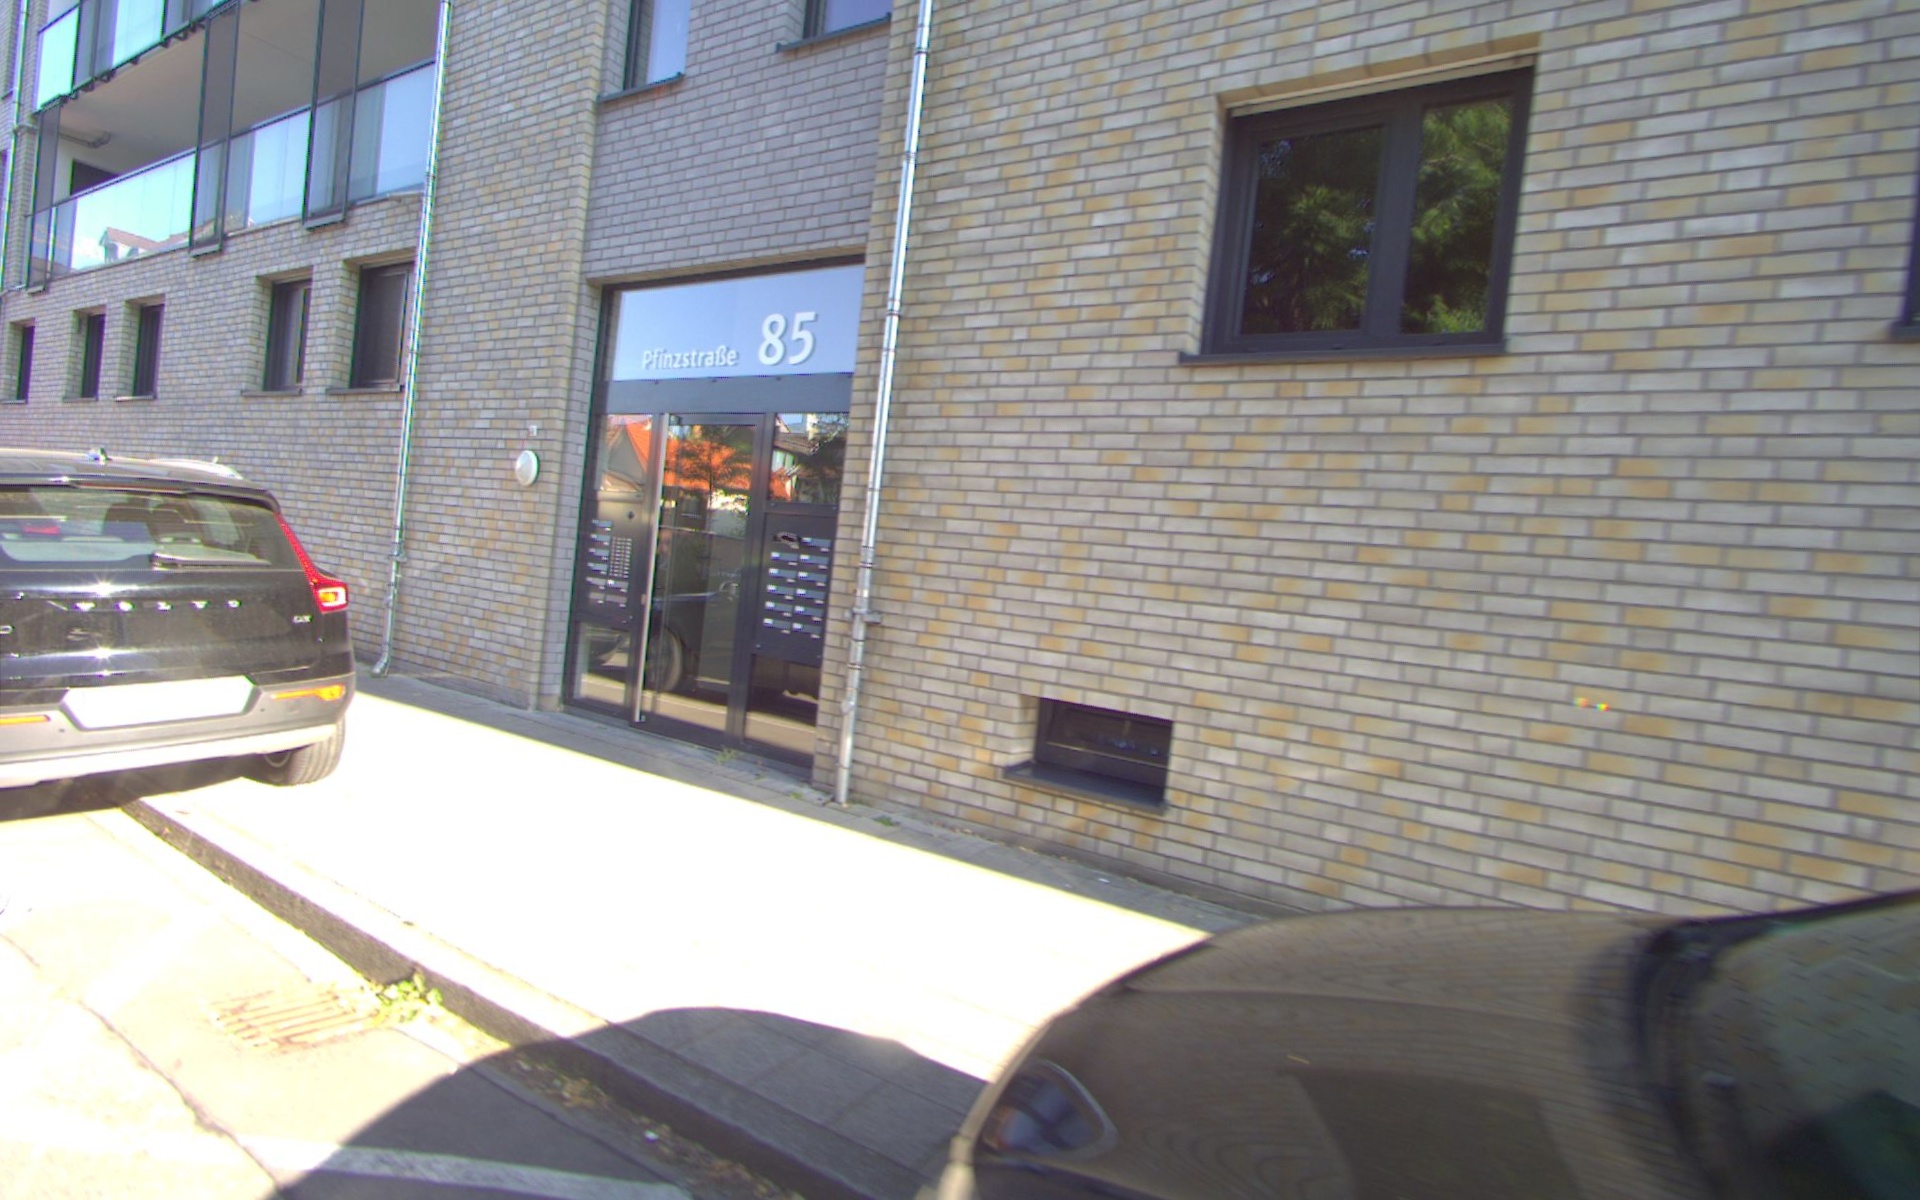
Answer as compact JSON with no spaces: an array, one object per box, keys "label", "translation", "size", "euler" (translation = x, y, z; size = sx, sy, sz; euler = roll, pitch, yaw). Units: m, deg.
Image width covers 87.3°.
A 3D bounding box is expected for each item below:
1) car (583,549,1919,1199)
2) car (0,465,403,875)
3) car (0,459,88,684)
[{"label":"car","translation":[1.973,0.950,0.777],"size":[4.639,1.487,1.698],"euler":[7,2,29]},{"label":"car","translation":[-4.960,0.079,5.131],"size":[4.199,1.485,1.818],"euler":[7,1,32]},{"label":"car","translation":[-9.544,-0.505,8.834],"size":[4.701,1.734,1.889],"euler":[8,1,38]}]
